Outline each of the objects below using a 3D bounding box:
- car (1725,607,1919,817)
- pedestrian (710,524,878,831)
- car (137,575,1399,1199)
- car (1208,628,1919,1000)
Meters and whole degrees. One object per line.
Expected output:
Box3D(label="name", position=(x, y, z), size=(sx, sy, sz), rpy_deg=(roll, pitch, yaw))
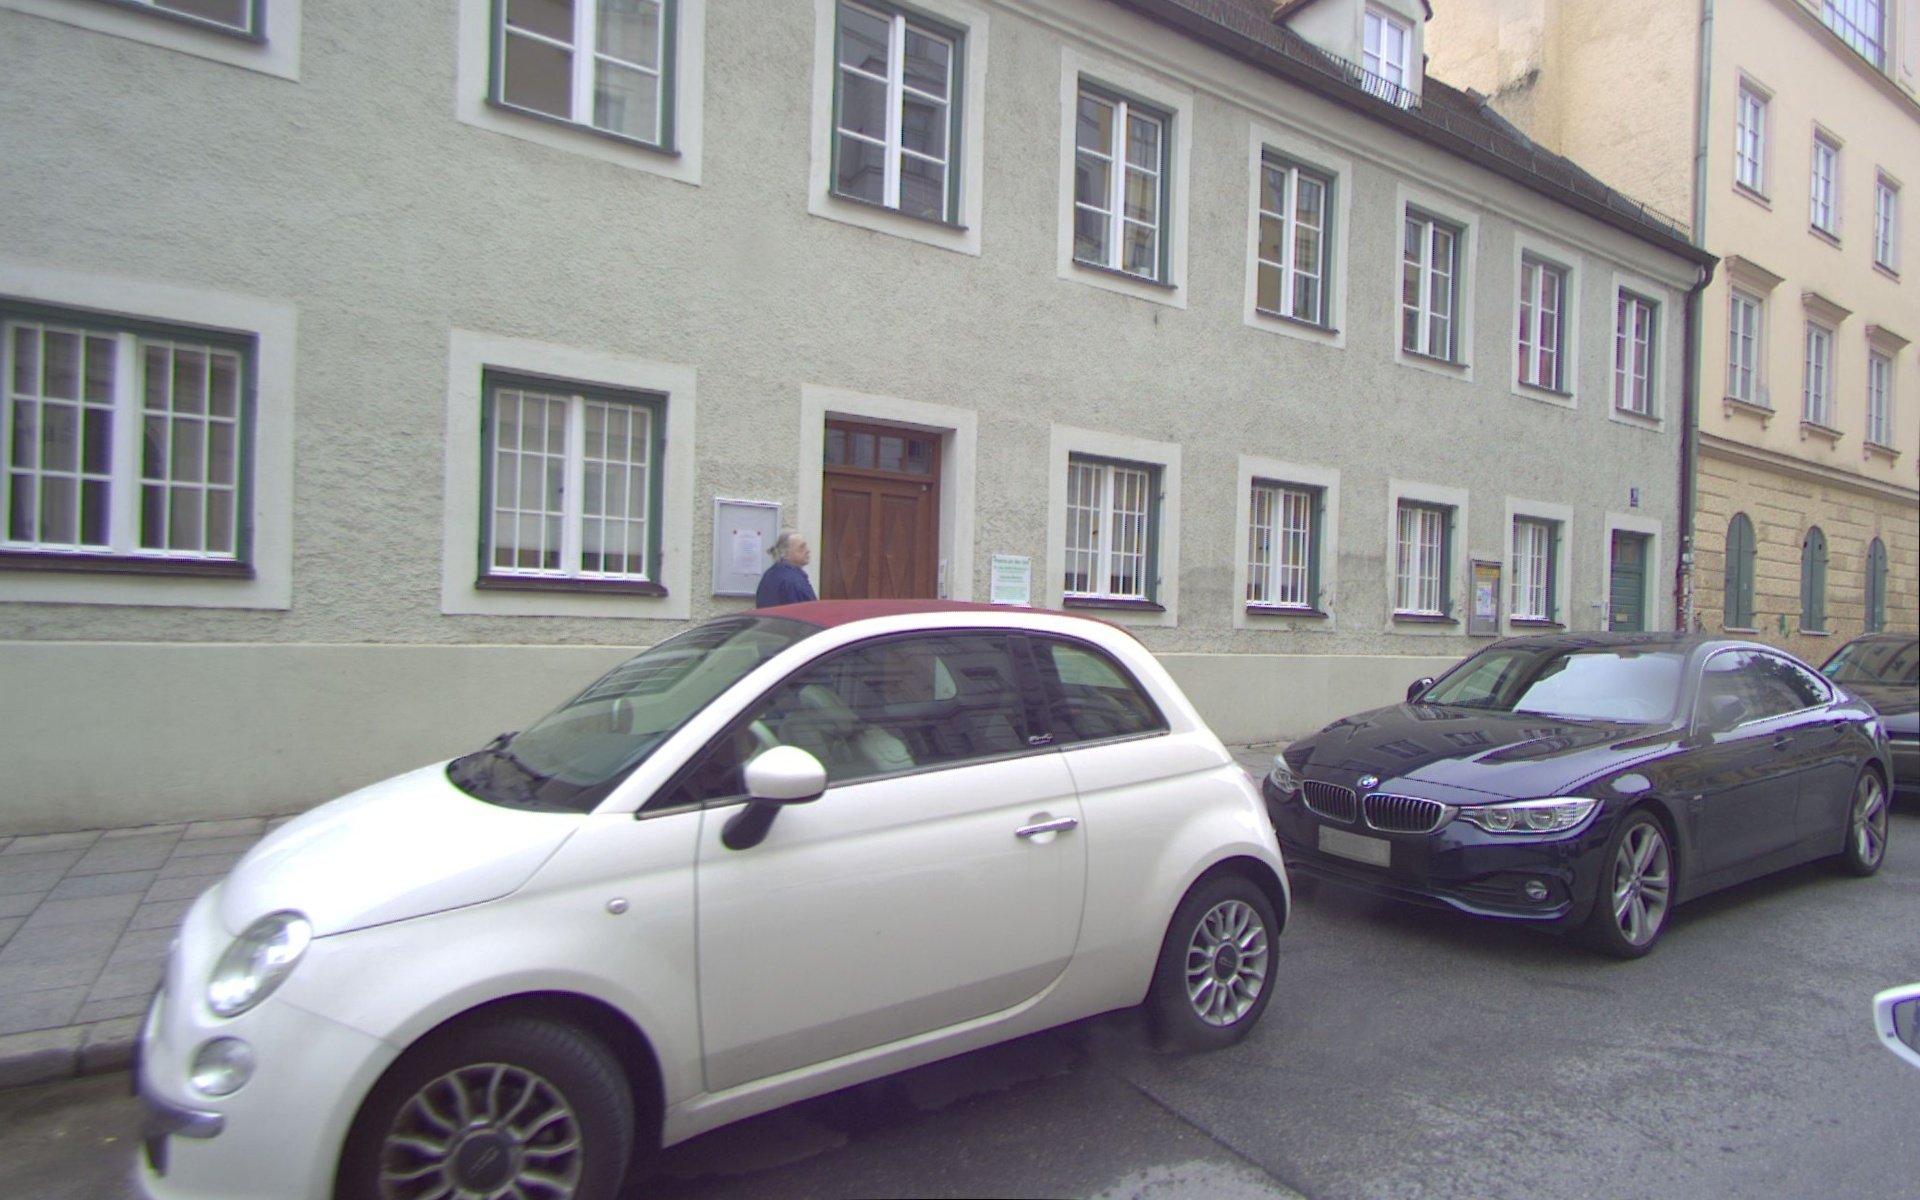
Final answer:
Box3D(label="car", position=(8.593, 0.884, 8.804), size=(4.157, 1.516, 1.744), rpy_deg=(2, 0, -34))
Box3D(label="pedestrian", position=(-1.139, 0.499, 6.846), size=(0.818, 1.923, 0.818), rpy_deg=(3, -1, -32))
Box3D(label="car", position=(-0.360, 0.729, 3.483), size=(3.676, 1.495, 1.743), rpy_deg=(2, 1, -34))
Box3D(label="car", position=(3.756, 0.875, 5.849), size=(4.633, 1.357, 1.788), rpy_deg=(1, 0, -32))
